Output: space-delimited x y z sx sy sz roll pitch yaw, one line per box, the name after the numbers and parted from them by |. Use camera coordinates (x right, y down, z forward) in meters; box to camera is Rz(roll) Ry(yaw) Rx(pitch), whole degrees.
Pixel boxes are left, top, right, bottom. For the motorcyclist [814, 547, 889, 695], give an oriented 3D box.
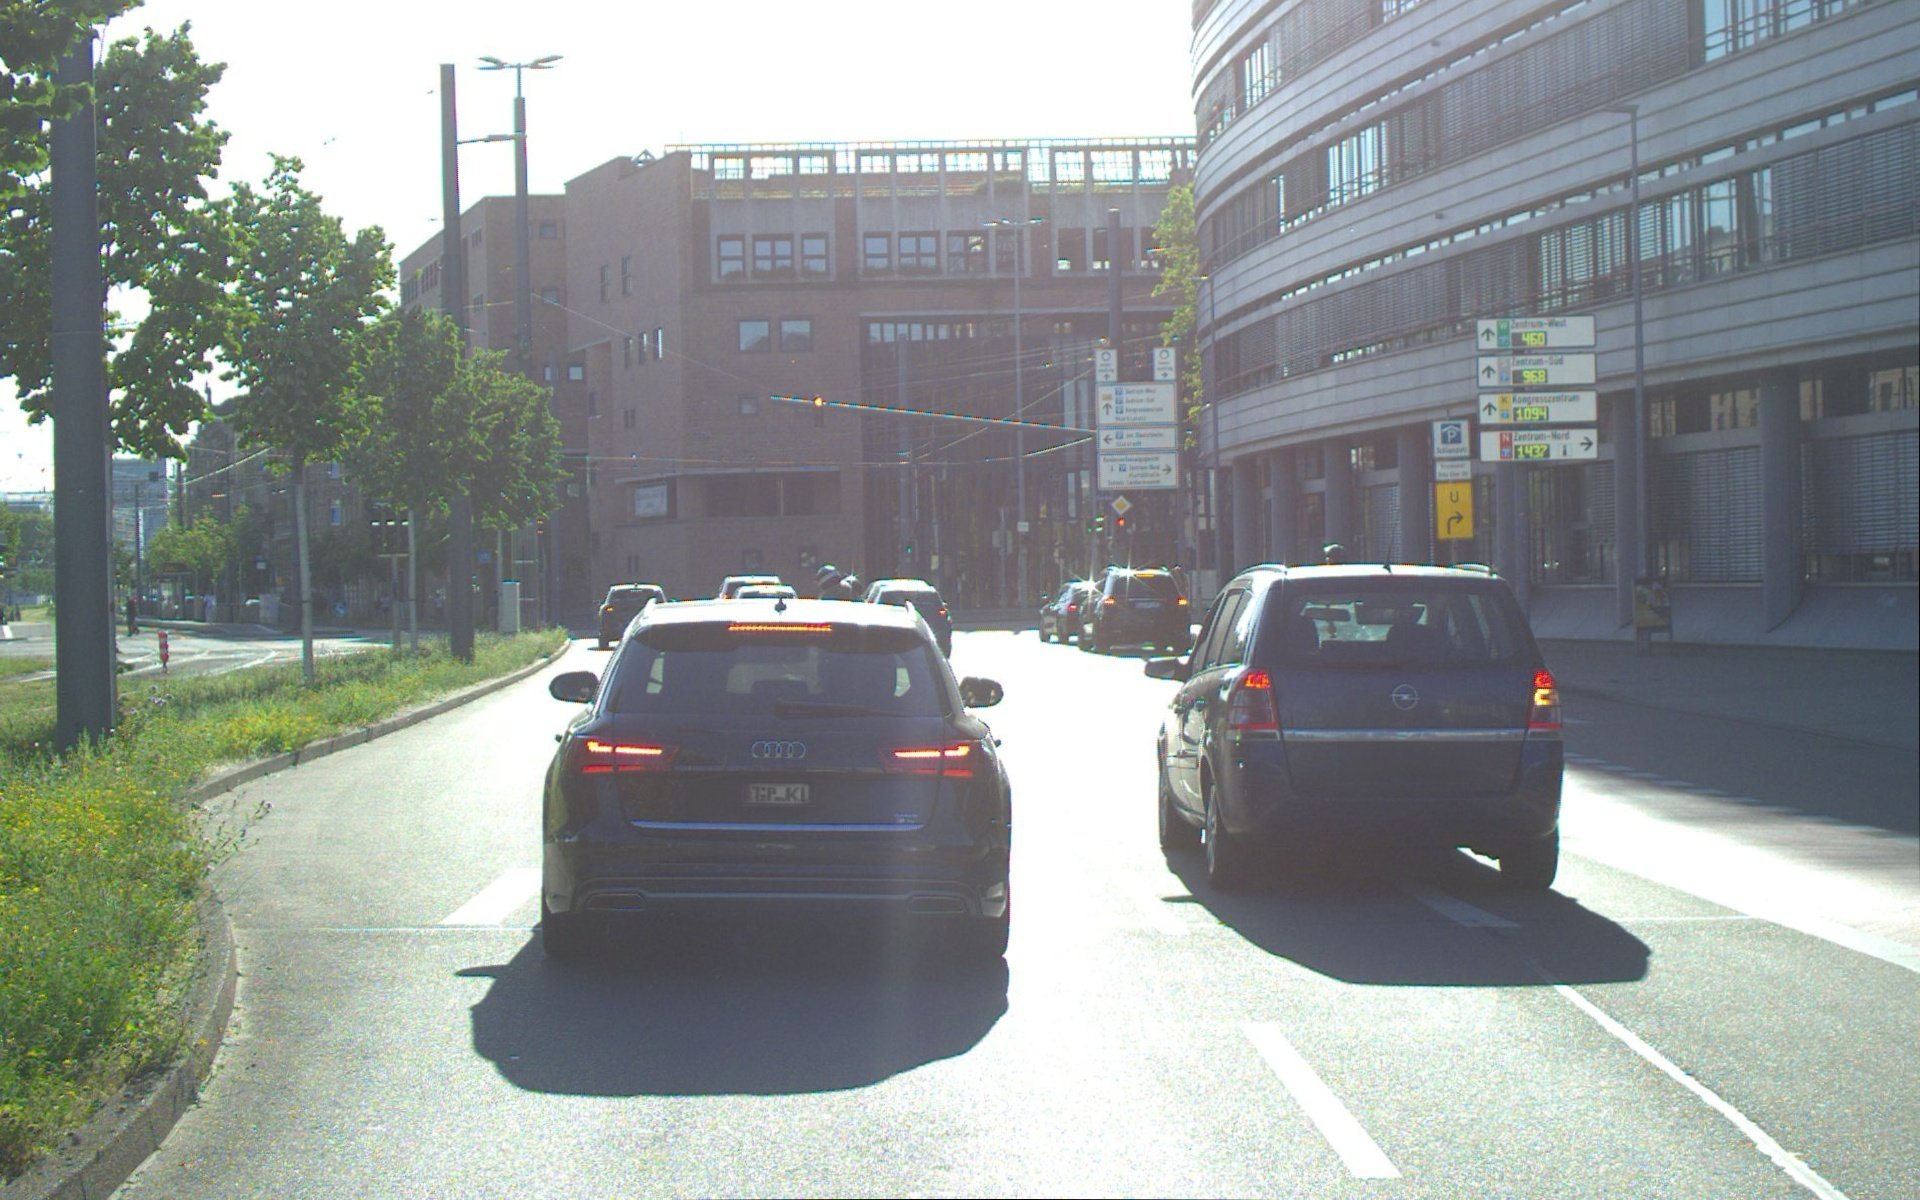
-1.146 0.216 36.410 0.745 1.525 1.021 -1 0 -1 | motorcyclist

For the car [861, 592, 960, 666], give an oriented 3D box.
-1.042 0.575 70.543 1.807 1.452 4.001 0 0 -4 | car

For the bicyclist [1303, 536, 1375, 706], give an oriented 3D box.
4.072 0.220 36.940 0.577 1.785 0.864 -1 0 -4 | bicyclist

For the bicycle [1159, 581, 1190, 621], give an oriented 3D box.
5.946 0.027 95.387 0.504 1.054 1.701 -3 0 14 | bicycle

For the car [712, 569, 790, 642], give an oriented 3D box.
-4.928 0.114 80.812 1.737 1.645 4.001 -1 0 -4 | car

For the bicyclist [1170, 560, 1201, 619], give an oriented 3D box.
6.292 -0.307 95.698 0.684 1.612 0.991 -1 0 12 | bicyclist

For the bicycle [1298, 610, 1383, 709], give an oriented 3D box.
4.078 0.621 36.975 0.491 0.994 2.328 -1 0 -4 | bicycle

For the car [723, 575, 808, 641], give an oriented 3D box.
-4.186 0.155 73.605 1.737 1.345 4.001 -1 0 -4 | car

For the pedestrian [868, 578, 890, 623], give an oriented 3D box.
-3.208 0.031 136.062 0.707 1.753 0.560 -1 0 21 | pedestrian

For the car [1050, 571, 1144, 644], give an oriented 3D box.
3.217 0.161 81.549 1.993 1.645 4.000 -1 0 -1 | car

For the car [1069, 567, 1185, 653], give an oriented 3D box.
3.542 0.184 73.636 1.993 1.744 4.329 -1 0 -3 | car

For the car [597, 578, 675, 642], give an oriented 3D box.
-7.479 0.215 79.592 1.649 1.428 4.001 -1 0 -4 | car

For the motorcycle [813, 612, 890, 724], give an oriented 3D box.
-1.158 0.708 36.577 0.775 1.111 1.969 -1 0 -2 | motorcycle

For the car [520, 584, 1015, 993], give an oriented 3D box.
-0.825 0.681 14.881 1.811 1.487 4.496 0 0 -3 | car

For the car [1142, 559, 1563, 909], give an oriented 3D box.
1.980 0.622 18.529 1.688 1.623 4.463 -1 0 -1 | car
